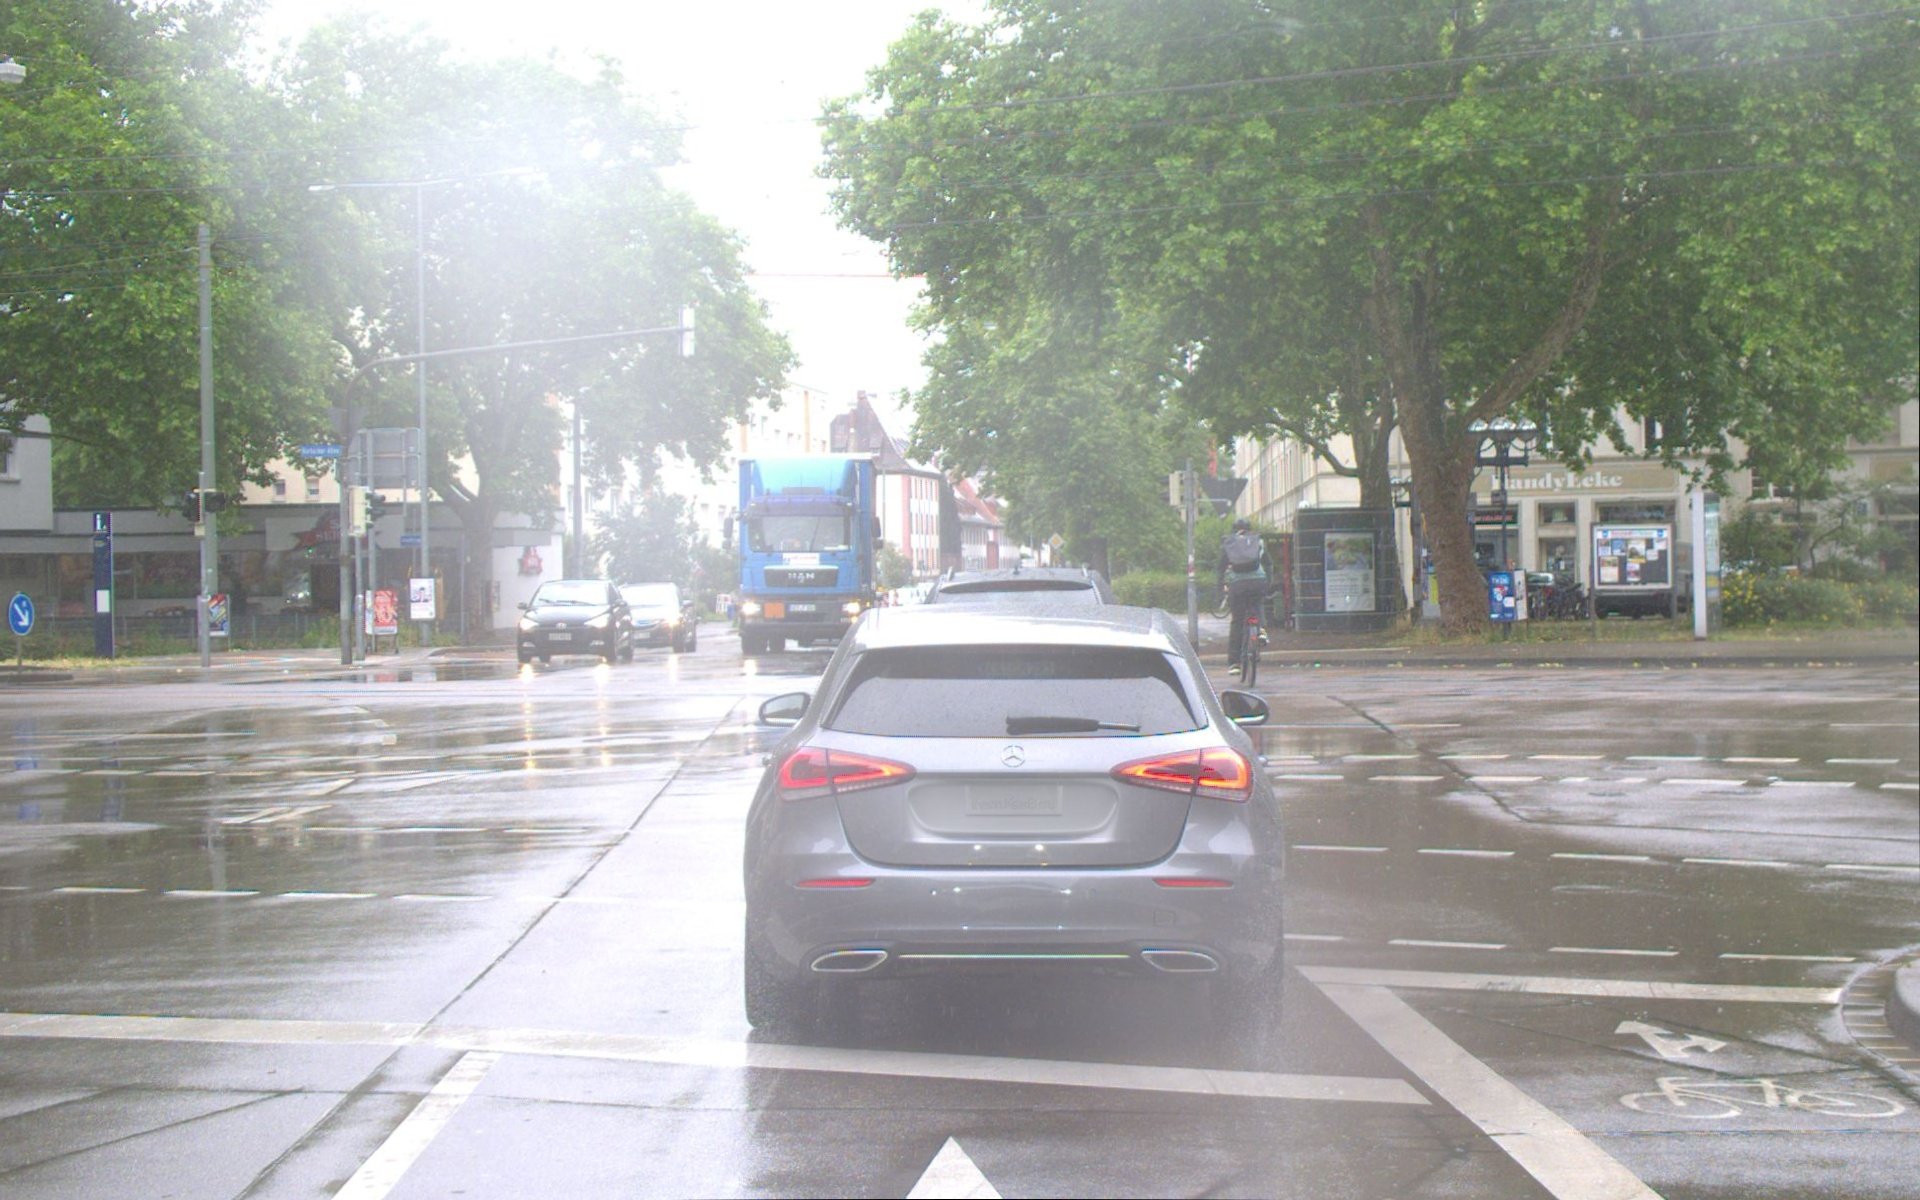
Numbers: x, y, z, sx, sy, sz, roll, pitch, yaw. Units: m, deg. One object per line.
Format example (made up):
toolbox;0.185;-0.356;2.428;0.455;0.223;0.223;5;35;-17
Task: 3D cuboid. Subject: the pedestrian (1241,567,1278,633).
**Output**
pedestrian;7.605;-0.006;87.358;0.663;1.663;0.719;-1;0;-21

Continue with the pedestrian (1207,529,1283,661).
pedestrian;3.117;-0.059;37.479;0.744;1.393;1.047;-2;0;7

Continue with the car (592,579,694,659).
car;-6.545;0.367;71.260;1.726;1.541;4.340;-2;0;-1

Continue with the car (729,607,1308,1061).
car;0.167;0.729;12.415;1.791;1.368;3.507;0;0;0

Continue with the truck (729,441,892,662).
truck;-2.880;-0.929;69.011;2.845;4.011;10.317;-2;0;-1

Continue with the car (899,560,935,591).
car;-2.643;-1.501;212.695;1.890;1.830;3.999;-1;0;3

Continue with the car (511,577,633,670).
car;-6.854;0.397;61.041;1.743;1.541;3.779;-2;0;-1

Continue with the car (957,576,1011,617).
car;0.932;-0.145;137.381;1.993;1.568;4.000;-1;0;-1

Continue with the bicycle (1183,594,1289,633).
bicycle;8.915;0.423;111.085;3.205;1.108;1.054;-1;-4;-18

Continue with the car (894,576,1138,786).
car;0.366;0.533;25.260;1.607;1.368;4.000;-2;0;0

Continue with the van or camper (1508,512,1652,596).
van or camper;17.198;-1.260;95.138;2.400;2.224;5.421;-1;0;27

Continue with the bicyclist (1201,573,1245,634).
bicyclist;8.479;0.106;110.905;0.938;1.862;1.143;-1;-4;-18

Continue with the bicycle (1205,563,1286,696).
bicycle;3.137;0.294;37.568;0.749;1.372;2.706;-2;0;7
